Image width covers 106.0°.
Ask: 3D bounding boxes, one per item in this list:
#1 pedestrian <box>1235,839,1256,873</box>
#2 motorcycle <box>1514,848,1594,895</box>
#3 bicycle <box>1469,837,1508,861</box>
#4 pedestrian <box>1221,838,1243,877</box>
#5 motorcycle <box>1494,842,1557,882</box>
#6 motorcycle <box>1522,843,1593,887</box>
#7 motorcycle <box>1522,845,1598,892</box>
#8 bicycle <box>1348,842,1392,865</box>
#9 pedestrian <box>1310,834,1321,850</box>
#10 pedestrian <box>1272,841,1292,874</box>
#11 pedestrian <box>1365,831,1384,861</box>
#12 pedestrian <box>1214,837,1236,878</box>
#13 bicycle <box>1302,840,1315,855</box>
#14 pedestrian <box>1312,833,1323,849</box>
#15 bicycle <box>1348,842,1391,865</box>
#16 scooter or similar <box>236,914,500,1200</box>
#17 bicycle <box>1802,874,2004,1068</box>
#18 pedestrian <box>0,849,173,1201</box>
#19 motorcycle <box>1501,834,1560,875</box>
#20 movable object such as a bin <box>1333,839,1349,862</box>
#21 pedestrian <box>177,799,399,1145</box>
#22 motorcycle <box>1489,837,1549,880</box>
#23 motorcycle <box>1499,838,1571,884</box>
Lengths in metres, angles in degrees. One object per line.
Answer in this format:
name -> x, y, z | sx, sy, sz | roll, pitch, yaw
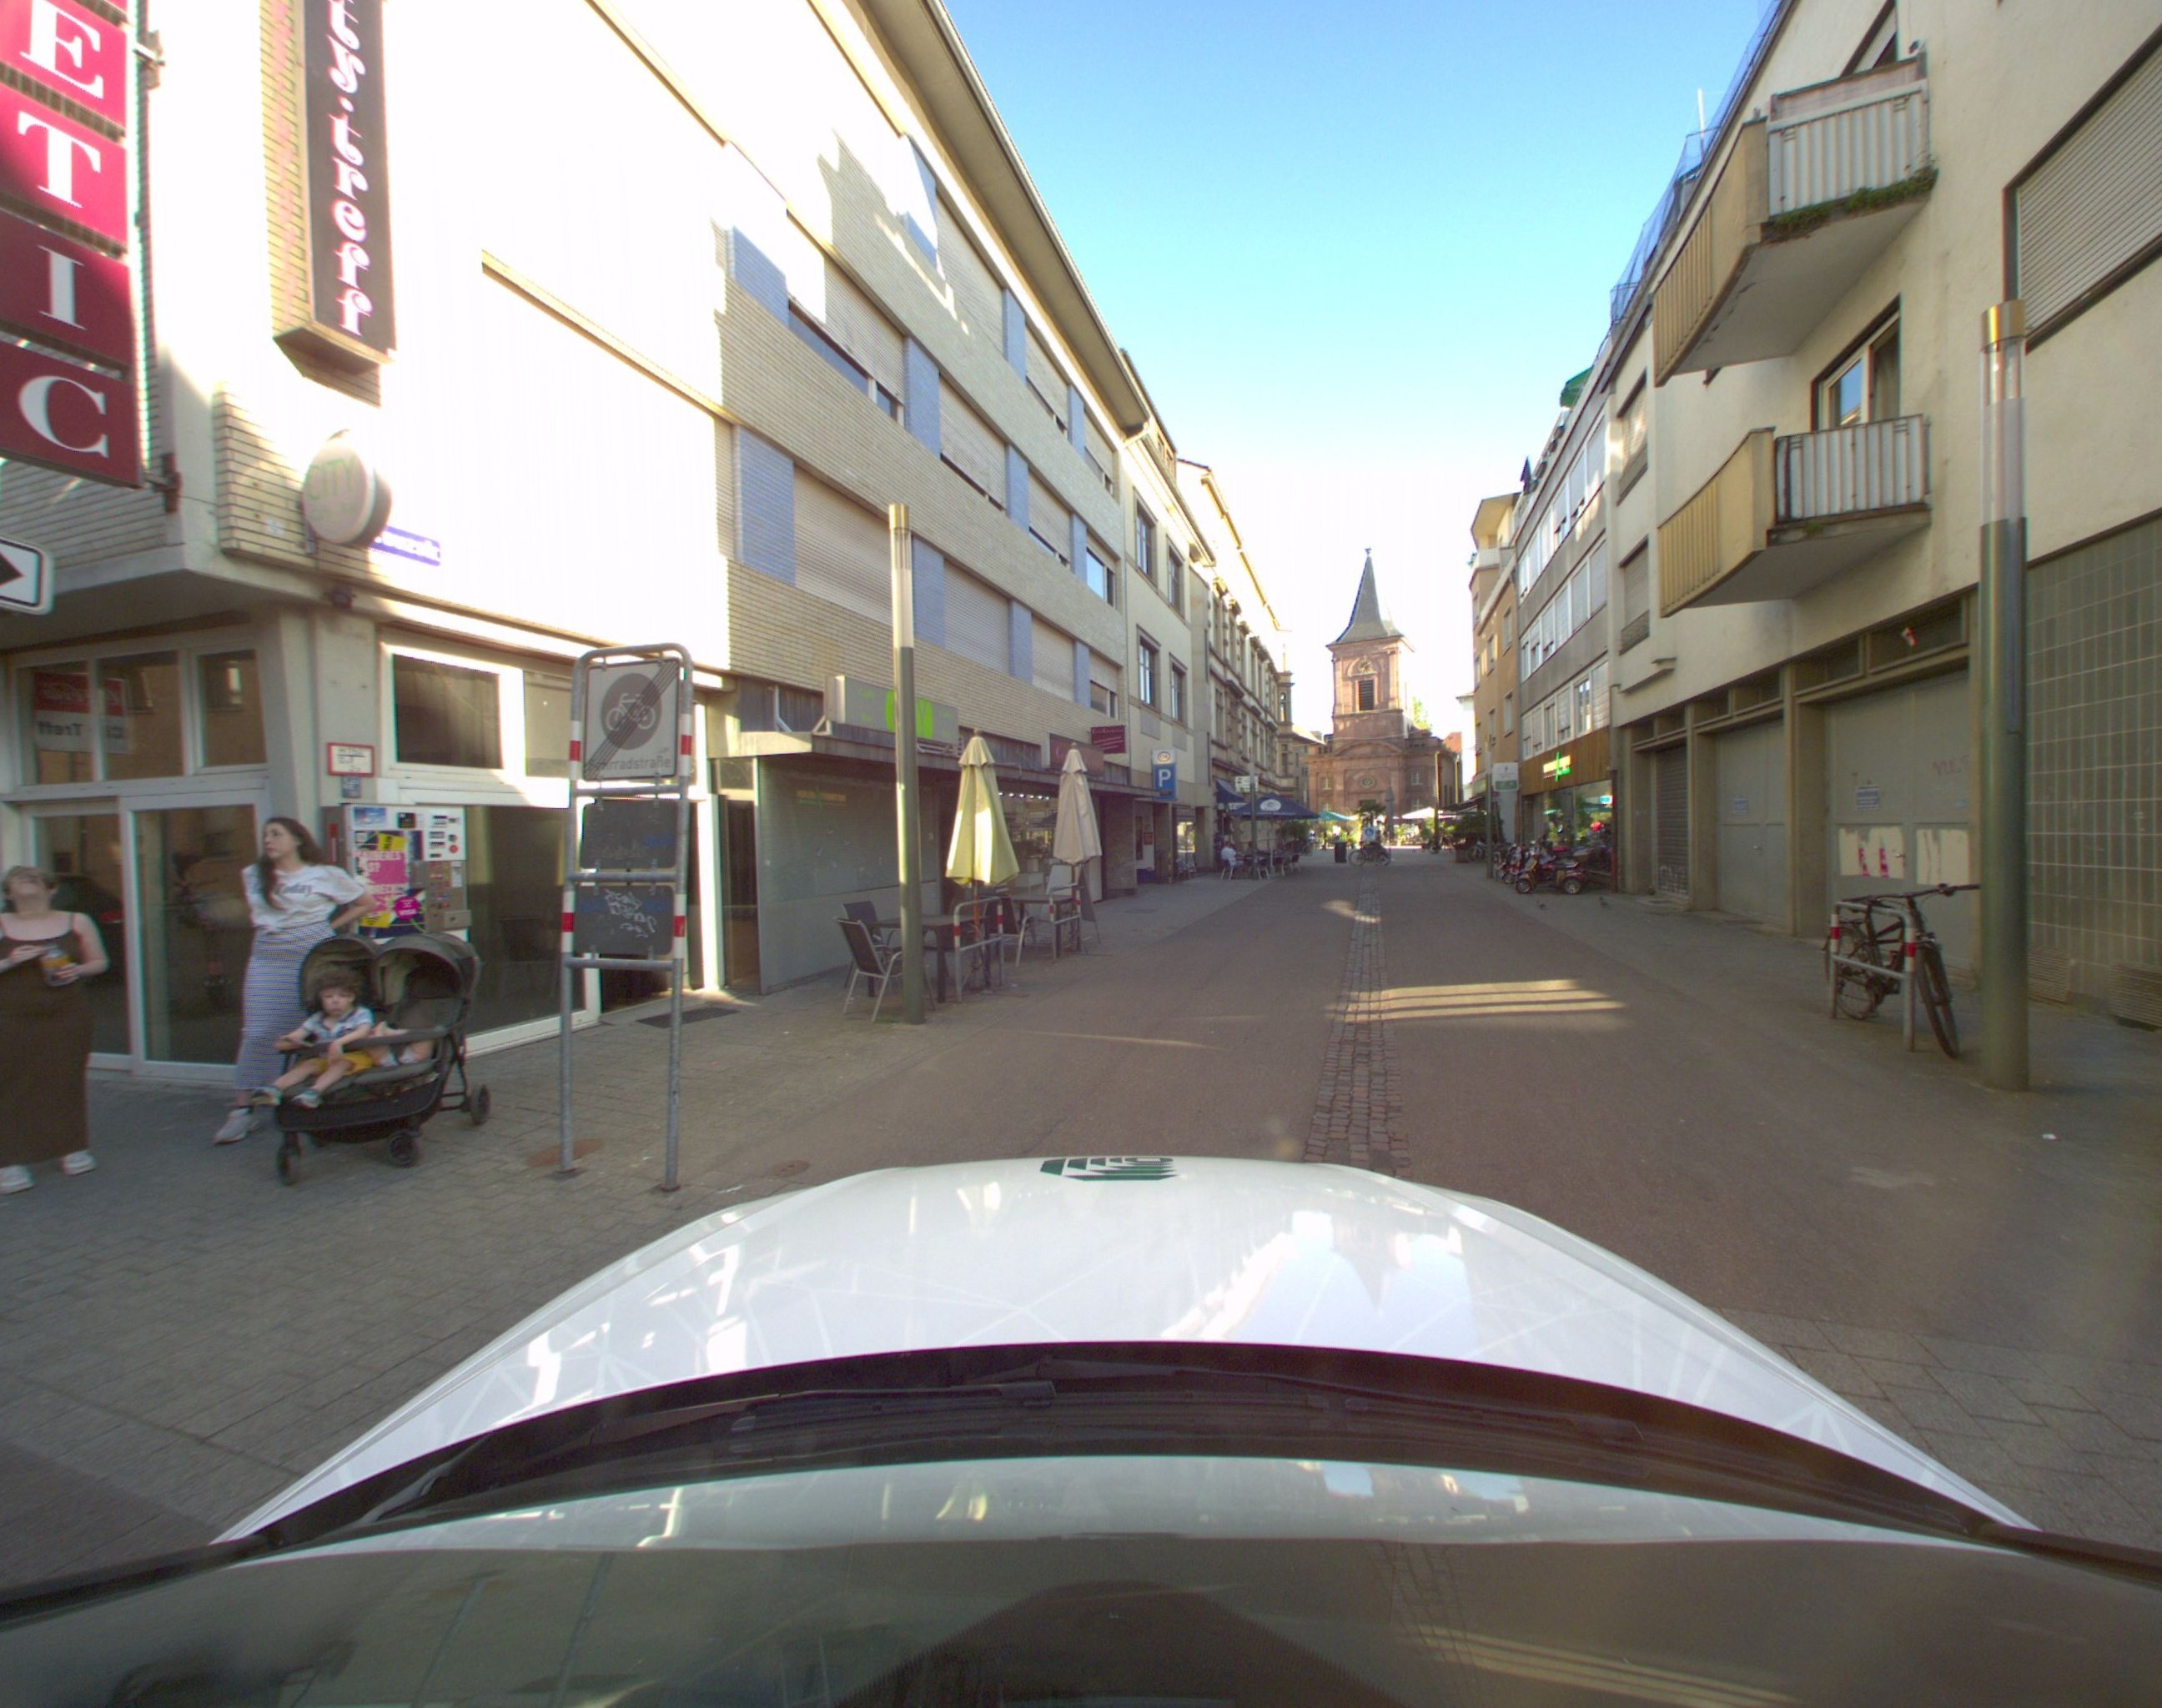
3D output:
pedestrian -> 6.211, 0.058, 30.773 | 0.760, 1.233, 0.834 | -1, 1, 12
motorcycle -> 10.994, 0.408, 18.970 | 1.549, 1.041, 0.375 | -1, 1, 38
bicycle -> 17.186, -0.215, 34.384 | 1.450, 1.004, 0.576 | -1, 1, 26
pedestrian -> 5.407, 0.128, 29.137 | 0.713, 1.368, 0.712 | -1, 1, 8
motorcycle -> 12.299, 0.217, 22.552 | 1.469, 1.075, 0.415 | -1, 1, 38
motorcycle -> 11.943, 0.281, 20.433 | 1.469, 1.075, 0.415 | -1, 1, 38
motorcycle -> 11.481, 0.351, 19.552 | 1.502, 1.075, 0.415 | -1, 1, 38
bicycle -> 12.906, -0.025, 36.372 | 1.810, 1.004, 0.383 | -1, 1, 16
pedestrian -> 18.052, -0.950, 62.770 | 0.694, 1.217, 0.724 | -1, 1, 25
pedestrian -> 7.678, 0.135, 31.100 | 0.687, 1.215, 0.585 | -1, 1, 11
pedestrian -> 14.616, -0.426, 40.577 | 0.876, 1.464, 0.734 | -1, 1, 20
pedestrian -> 4.954, 0.116, 28.106 | 0.704, 1.368, 0.721 | -1, 1, 8
bicycle -> 13.752, -0.402, 49.148 | 0.452, 0.849, 2.158 | -1, 1, 23
pedestrian -> 18.635, -1.053, 64.088 | 0.694, 1.217, 0.724 | -1, 1, 25
bicycle -> 13.024, -0.036, 36.760 | 1.810, 1.004, 0.383 | -1, 1, 16
scooter or similar -> -3.622, 0.957, 4.253 | 0.801, 1.143, 0.945 | -2, 2, -29
bicycle -> 5.807, 0.739, 5.862 | 0.442, 1.140, 1.720 | 0, 0, 25
pedestrian -> -5.088, 0.788, 4.040 | 0.504, 1.579, 0.537 | -1, 4, 25
motorcycle -> 13.332, 0.023, 24.176 | 1.469, 1.181, 0.415 | -1, 1, 35
movable object such as a bin -> 12.738, -0.167, 39.910 | 0.715, 1.074, 0.376 | -1, 1, 18
pedestrian -> -4.516, 0.614, 4.703 | 0.662, 1.819, 0.565 | -5, 4, -29
motorcycle -> 12.618, 0.137, 23.470 | 1.469, 1.181, 0.415 | -1, 1, 35
motorcycle -> 12.097, 0.196, 21.724 | 1.609, 1.175, 0.483 | -1, 1, 38
